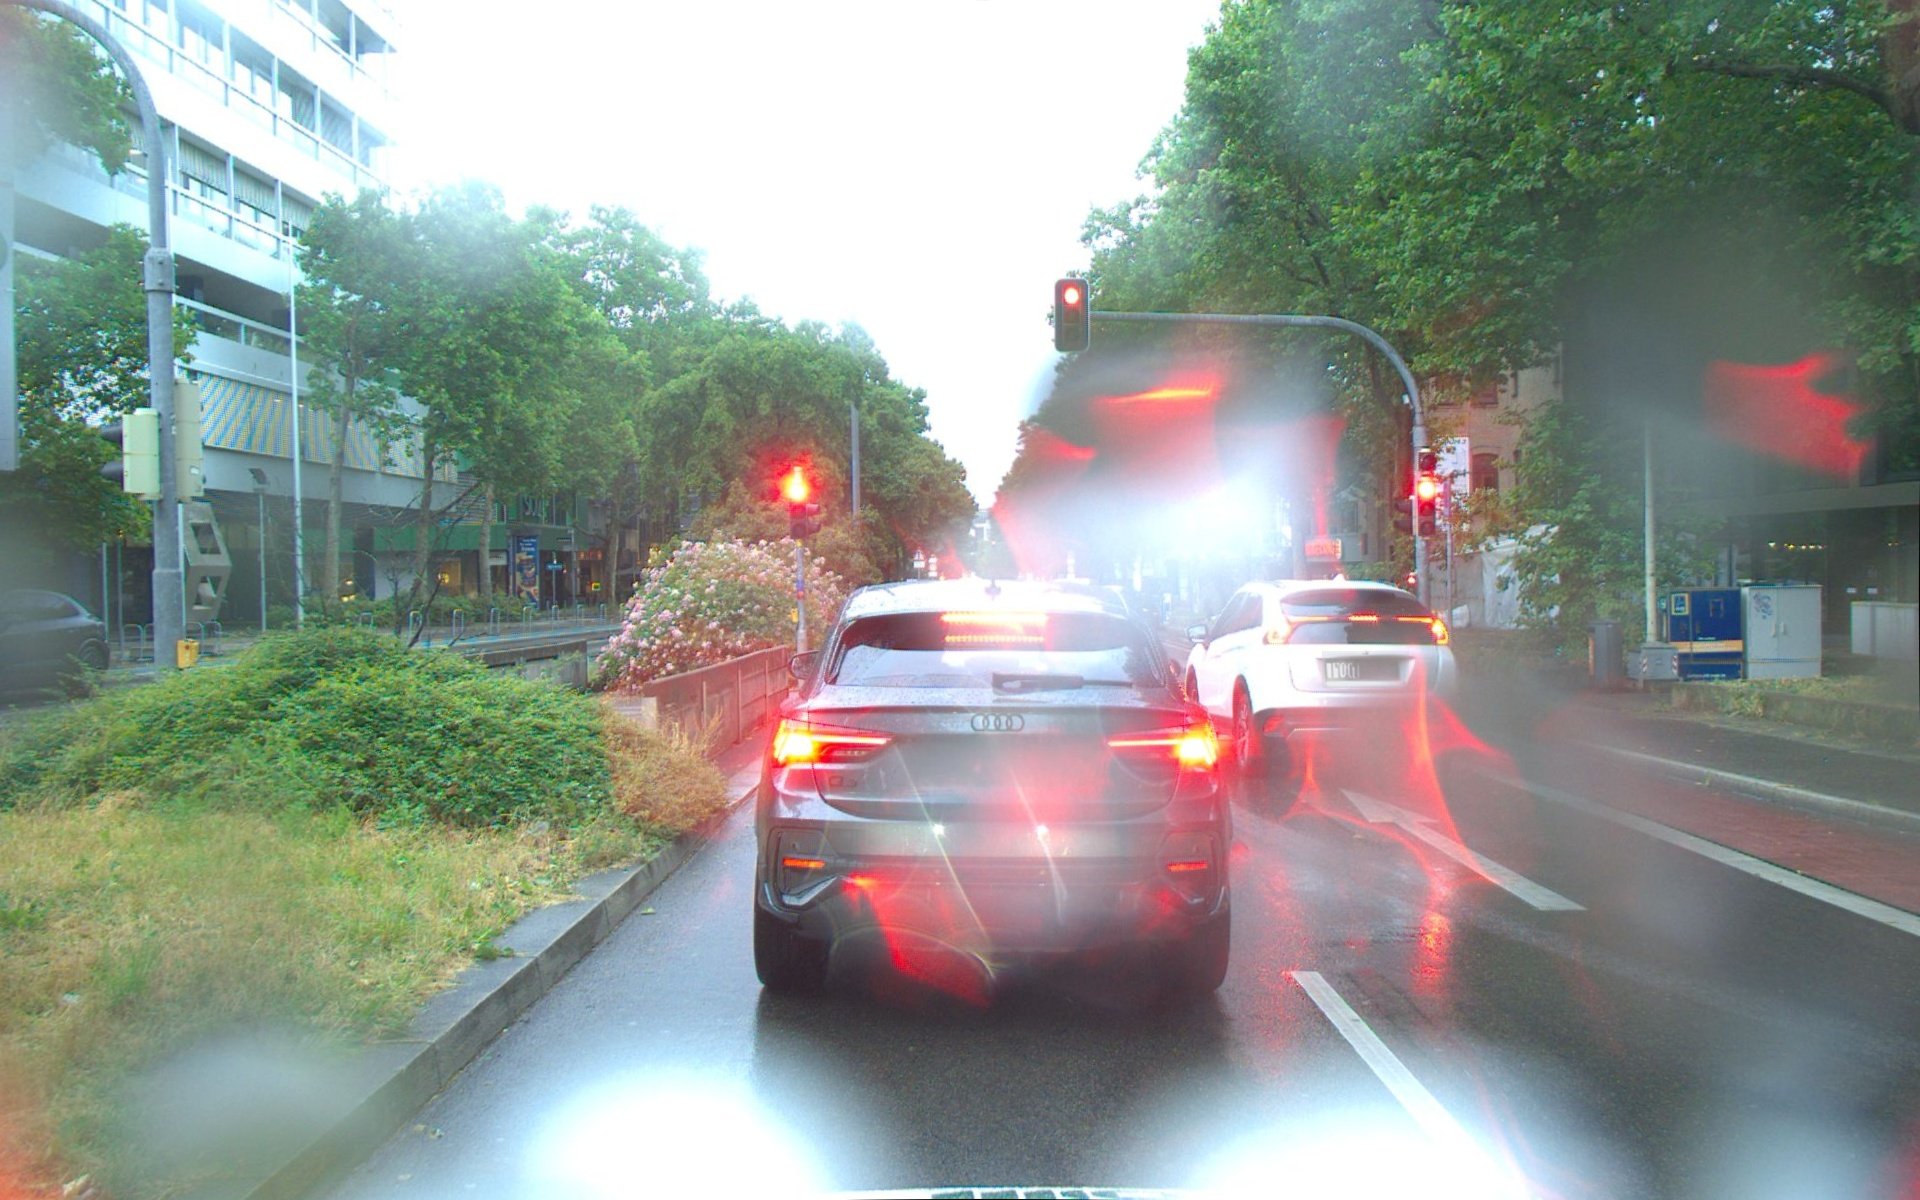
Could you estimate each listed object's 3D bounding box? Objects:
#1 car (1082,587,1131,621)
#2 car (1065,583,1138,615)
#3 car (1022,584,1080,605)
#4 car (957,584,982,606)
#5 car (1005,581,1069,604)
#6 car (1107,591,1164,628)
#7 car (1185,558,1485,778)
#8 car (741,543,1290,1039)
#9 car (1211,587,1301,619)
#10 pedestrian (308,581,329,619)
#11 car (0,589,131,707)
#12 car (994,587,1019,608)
[{"bbox_3d":[7.034,0.200,79.611,1.693,1.599,4.070,1,0,-4],"label":"car"},{"bbox_3d":[9.356,-0.078,109.832,4.519,2.049,1.959,1,-1,39],"label":"car"},{"bbox_3d":[7.766,-0.457,141.045,4.549,1.736,1.997,1,0,28],"label":"car"},{"bbox_3d":[0.690,-0.387,129.285,1.857,1.627,3.938,1,0,-1],"label":"car"},{"bbox_3d":[5.985,-0.605,128.851,4.549,1.736,1.997,1,0,28],"label":"car"},{"bbox_3d":[7.269,0.376,68.846,1.835,1.446,4.611,1,0,0],"label":"car"},{"bbox_3d":[3.273,0.551,15.217,1.839,1.727,4.000,1,0,0],"label":"car"},{"bbox_3d":[0.157,0.623,7.459,1.812,1.630,3.999,0,0,-1],"label":"car"},{"bbox_3d":[10.549,0.097,58.957,2.831,1.093,1.452,1,0,31],"label":"car"},{"bbox_3d":[-23.916,0.004,61.699,0.626,1.404,0.473,1,-1,-12],"label":"pedestrian"},{"bbox_3d":[-14.014,0.643,23.433,1.869,1.612,4.748,1,0,4],"label":"car"},{"bbox_3d":[3.906,-0.199,138.609,1.952,1.680,4.000,1,0,0],"label":"car"}]
